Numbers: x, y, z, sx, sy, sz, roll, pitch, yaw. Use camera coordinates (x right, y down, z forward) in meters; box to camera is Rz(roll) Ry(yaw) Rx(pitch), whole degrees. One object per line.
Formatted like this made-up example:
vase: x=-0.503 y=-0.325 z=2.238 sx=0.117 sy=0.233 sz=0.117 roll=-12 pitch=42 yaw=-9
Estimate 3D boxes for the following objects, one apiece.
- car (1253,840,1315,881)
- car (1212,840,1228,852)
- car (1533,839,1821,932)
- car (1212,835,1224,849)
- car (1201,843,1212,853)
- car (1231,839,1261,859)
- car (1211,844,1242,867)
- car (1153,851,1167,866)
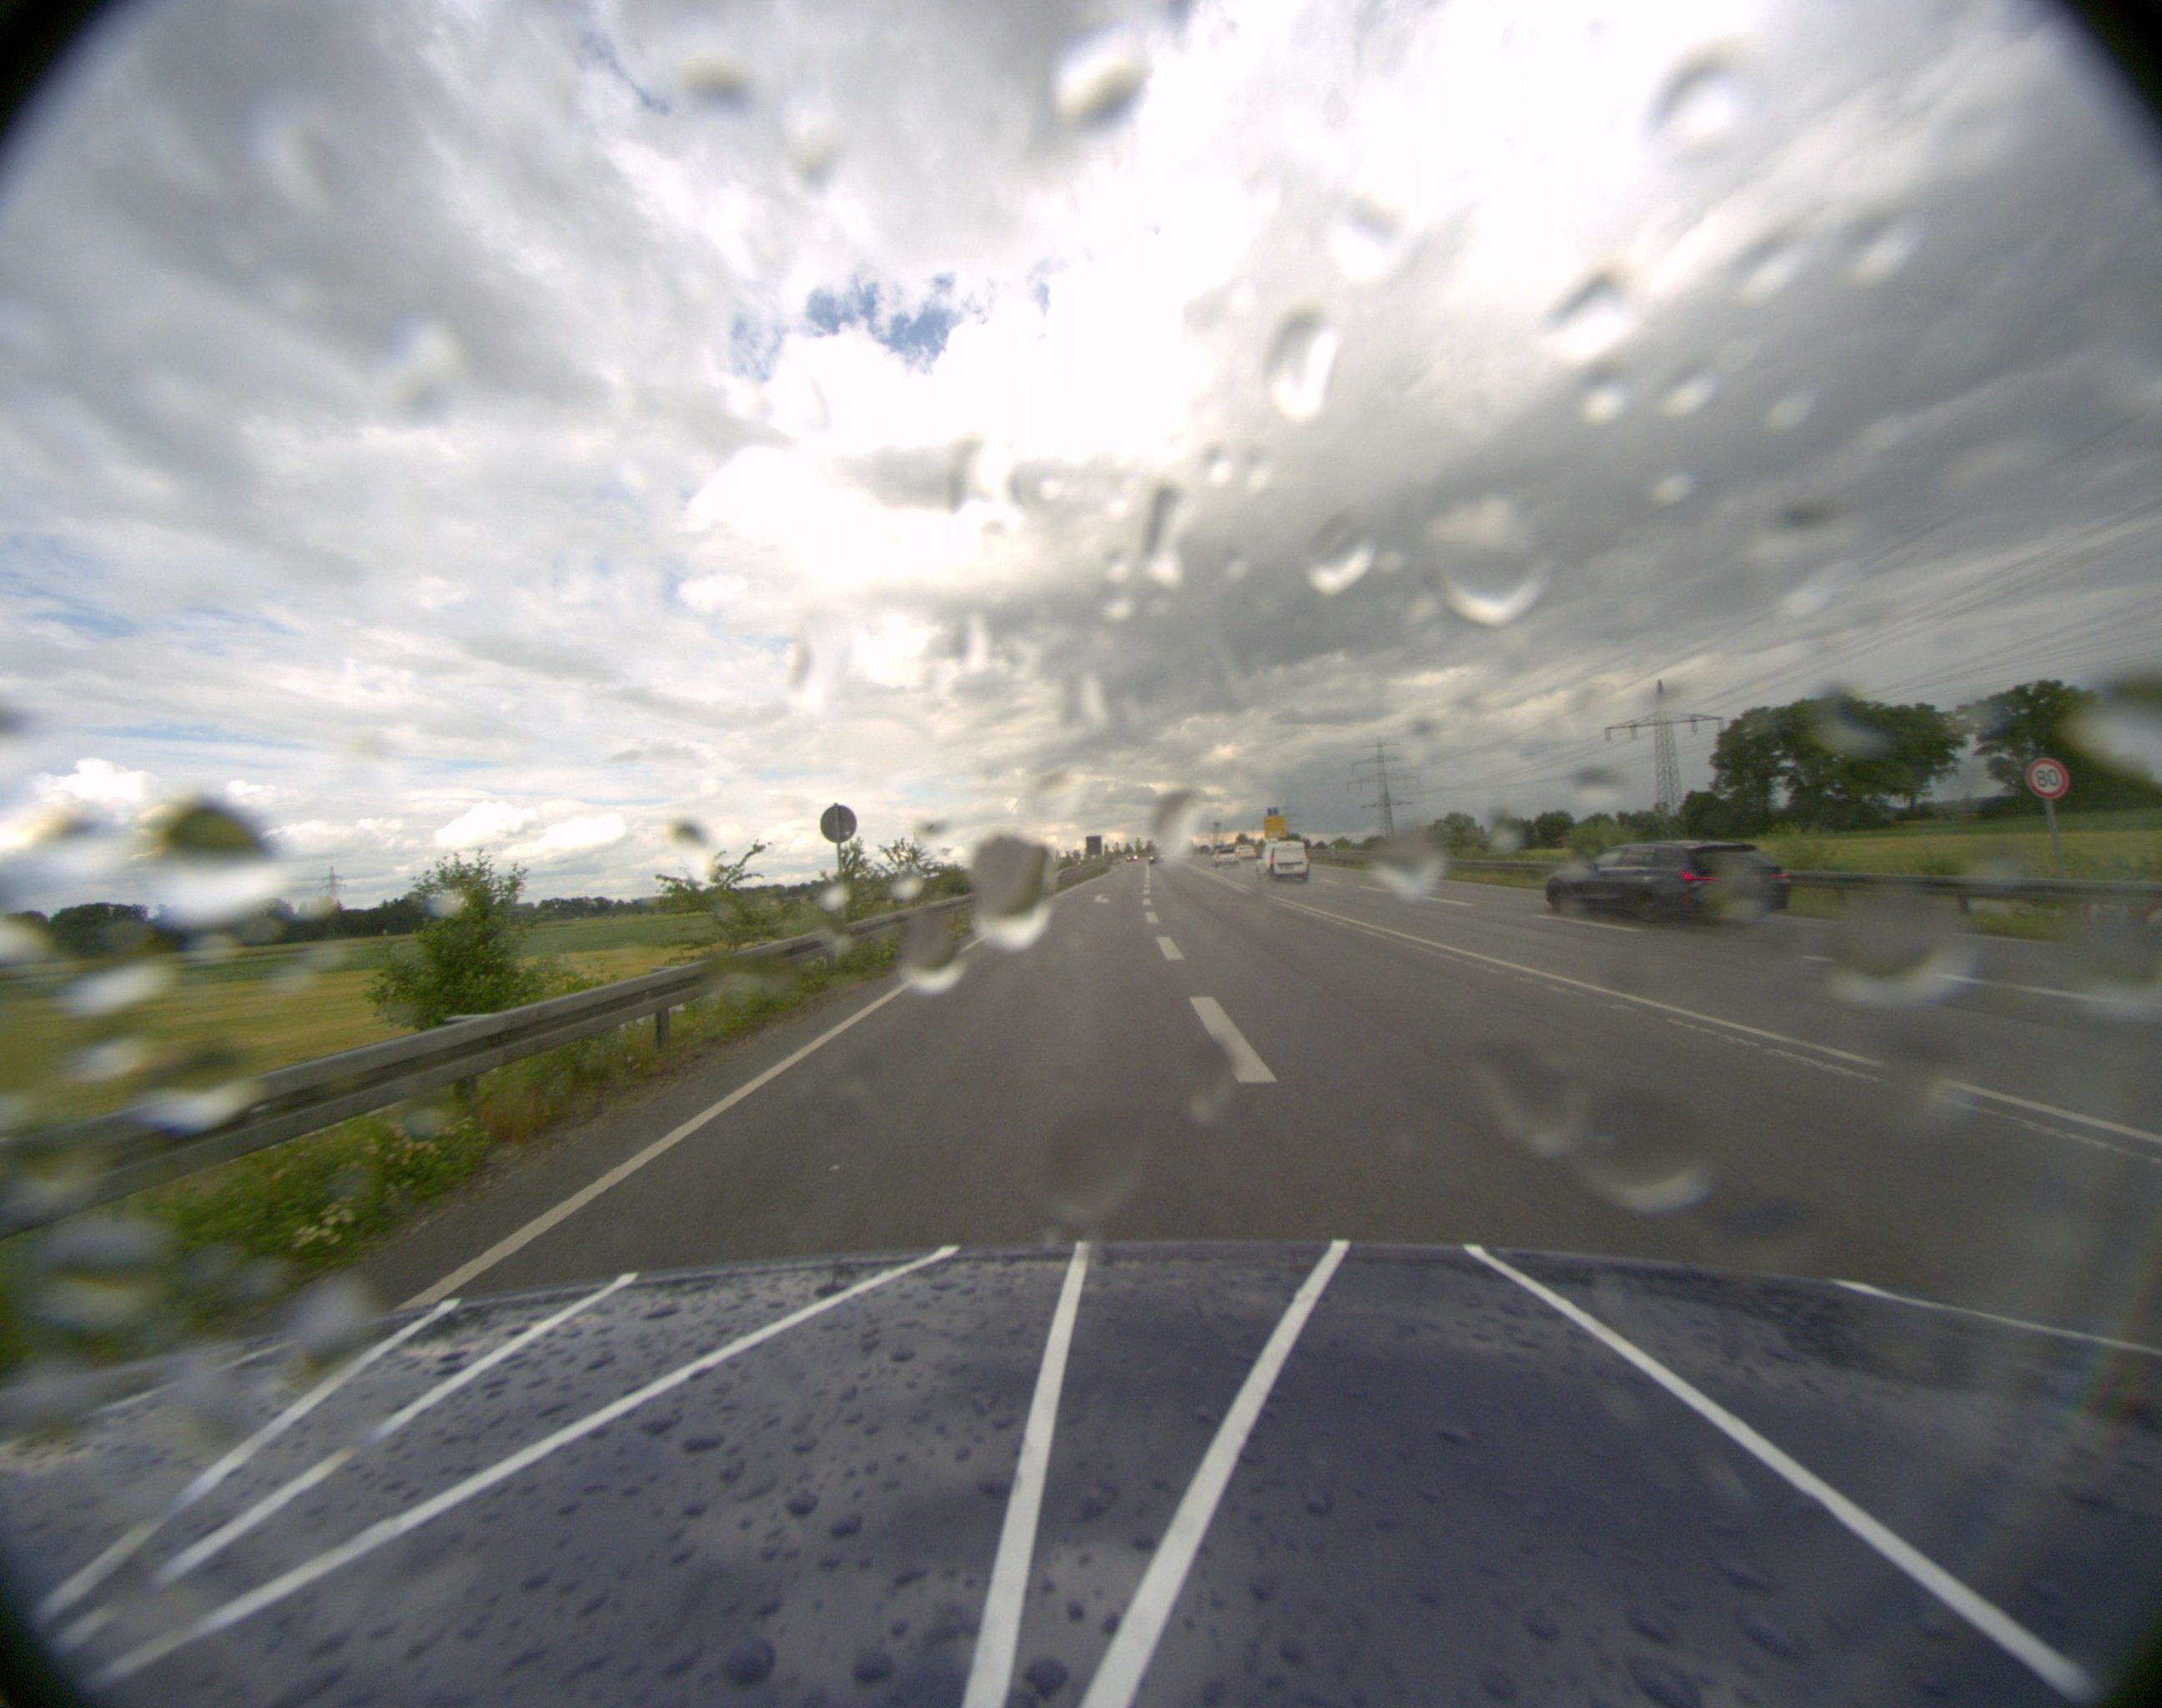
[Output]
car: x=8.983 y=0.254 z=33.963 sx=1.794 sy=1.656 sz=4.371 roll=-2 pitch=0 yaw=4
car: x=17.841 y=-1.008 z=97.734 sx=1.774 sy=1.418 sz=4.736 roll=-3 pitch=0 yaw=7
car: x=10.957 y=0.485 z=14.565 sx=1.900 sy=1.433 sz=4.901 roll=-1 pitch=0 yaw=4
car: x=28.175 y=-2.438 z=156.474 sx=1.973 sy=2.639 sz=5.463 roll=-5 pitch=0 yaw=12
car: x=22.591 y=-1.062 z=136.370 sx=1.710 sy=1.600 sz=4.640 roll=-1 pitch=1 yaw=12
car: x=15.623 y=-0.499 z=72.241 sx=1.948 sy=1.650 sz=4.646 roll=-5 pitch=1 yaw=4
car: x=10.809 y=0.089 z=56.615 sx=1.770 sy=1.491 sz=4.211 roll=-3 pitch=0 yaw=5
car: x=10.525 y=0.618 z=101.608 sx=1.795 sy=1.758 sz=4.003 roll=-3 pitch=-2 yaw=5
